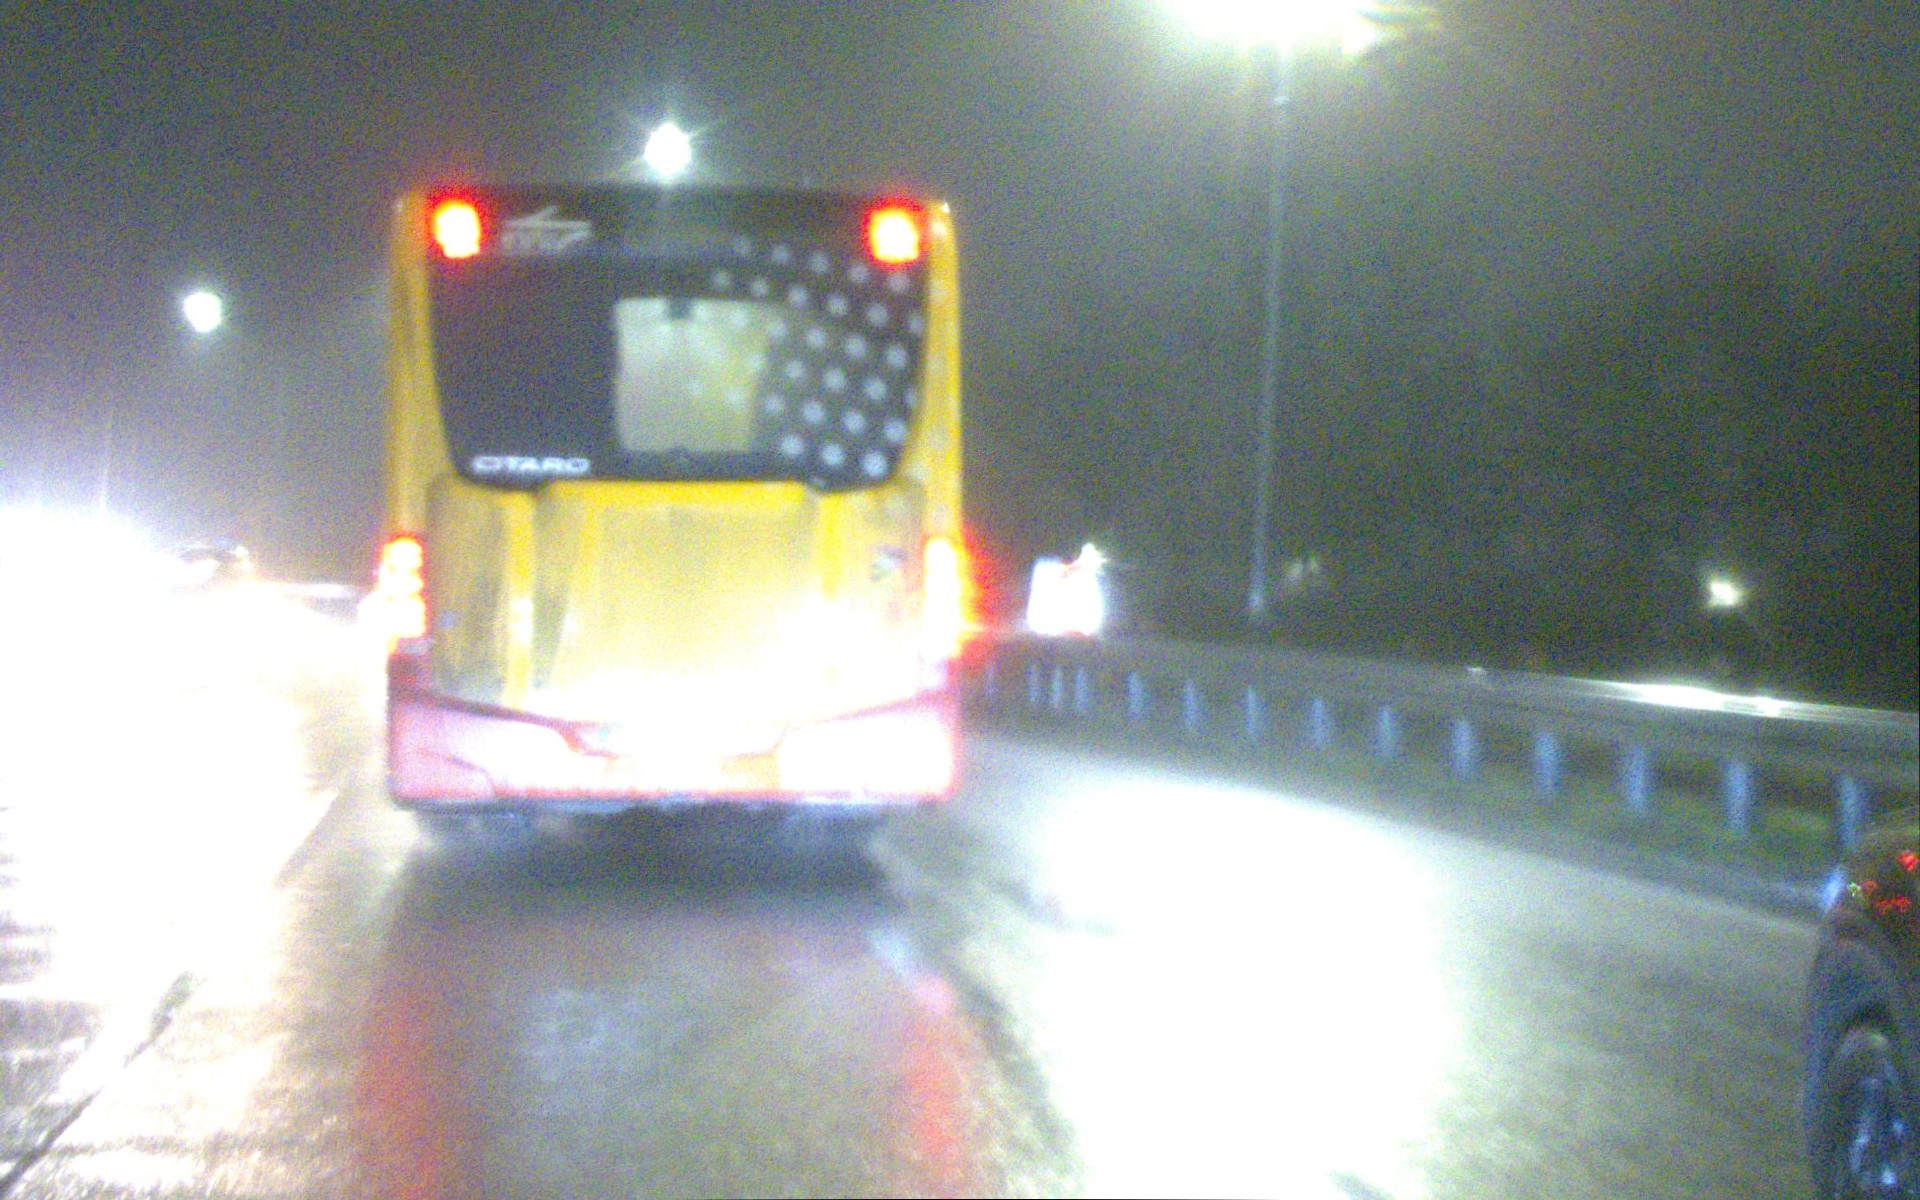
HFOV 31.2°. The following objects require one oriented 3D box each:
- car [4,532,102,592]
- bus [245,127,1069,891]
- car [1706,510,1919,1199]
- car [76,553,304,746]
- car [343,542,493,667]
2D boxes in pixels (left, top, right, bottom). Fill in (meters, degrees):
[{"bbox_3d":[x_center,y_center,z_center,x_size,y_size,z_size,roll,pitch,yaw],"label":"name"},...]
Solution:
[{"bbox_3d":[-26.627,-1.130,100.863,1.815,1.612,4.001,3,-1,-29],"label":"car"},{"bbox_3d":[-1.692,-0.648,18.893,3.284,3.039,9.547,2,3,-6],"label":"bus"},{"bbox_3d":[2.584,0.640,5.130,1.676,1.516,3.961,3,-1,-6],"label":"car"},{"bbox_3d":[-8.702,0.554,39.205,1.993,2.007,4.349,2,-1,-6],"label":"car"},{"bbox_3d":[-9.515,0.064,60.074,1.993,2.007,4.350,3,-1,-16],"label":"car"}]
